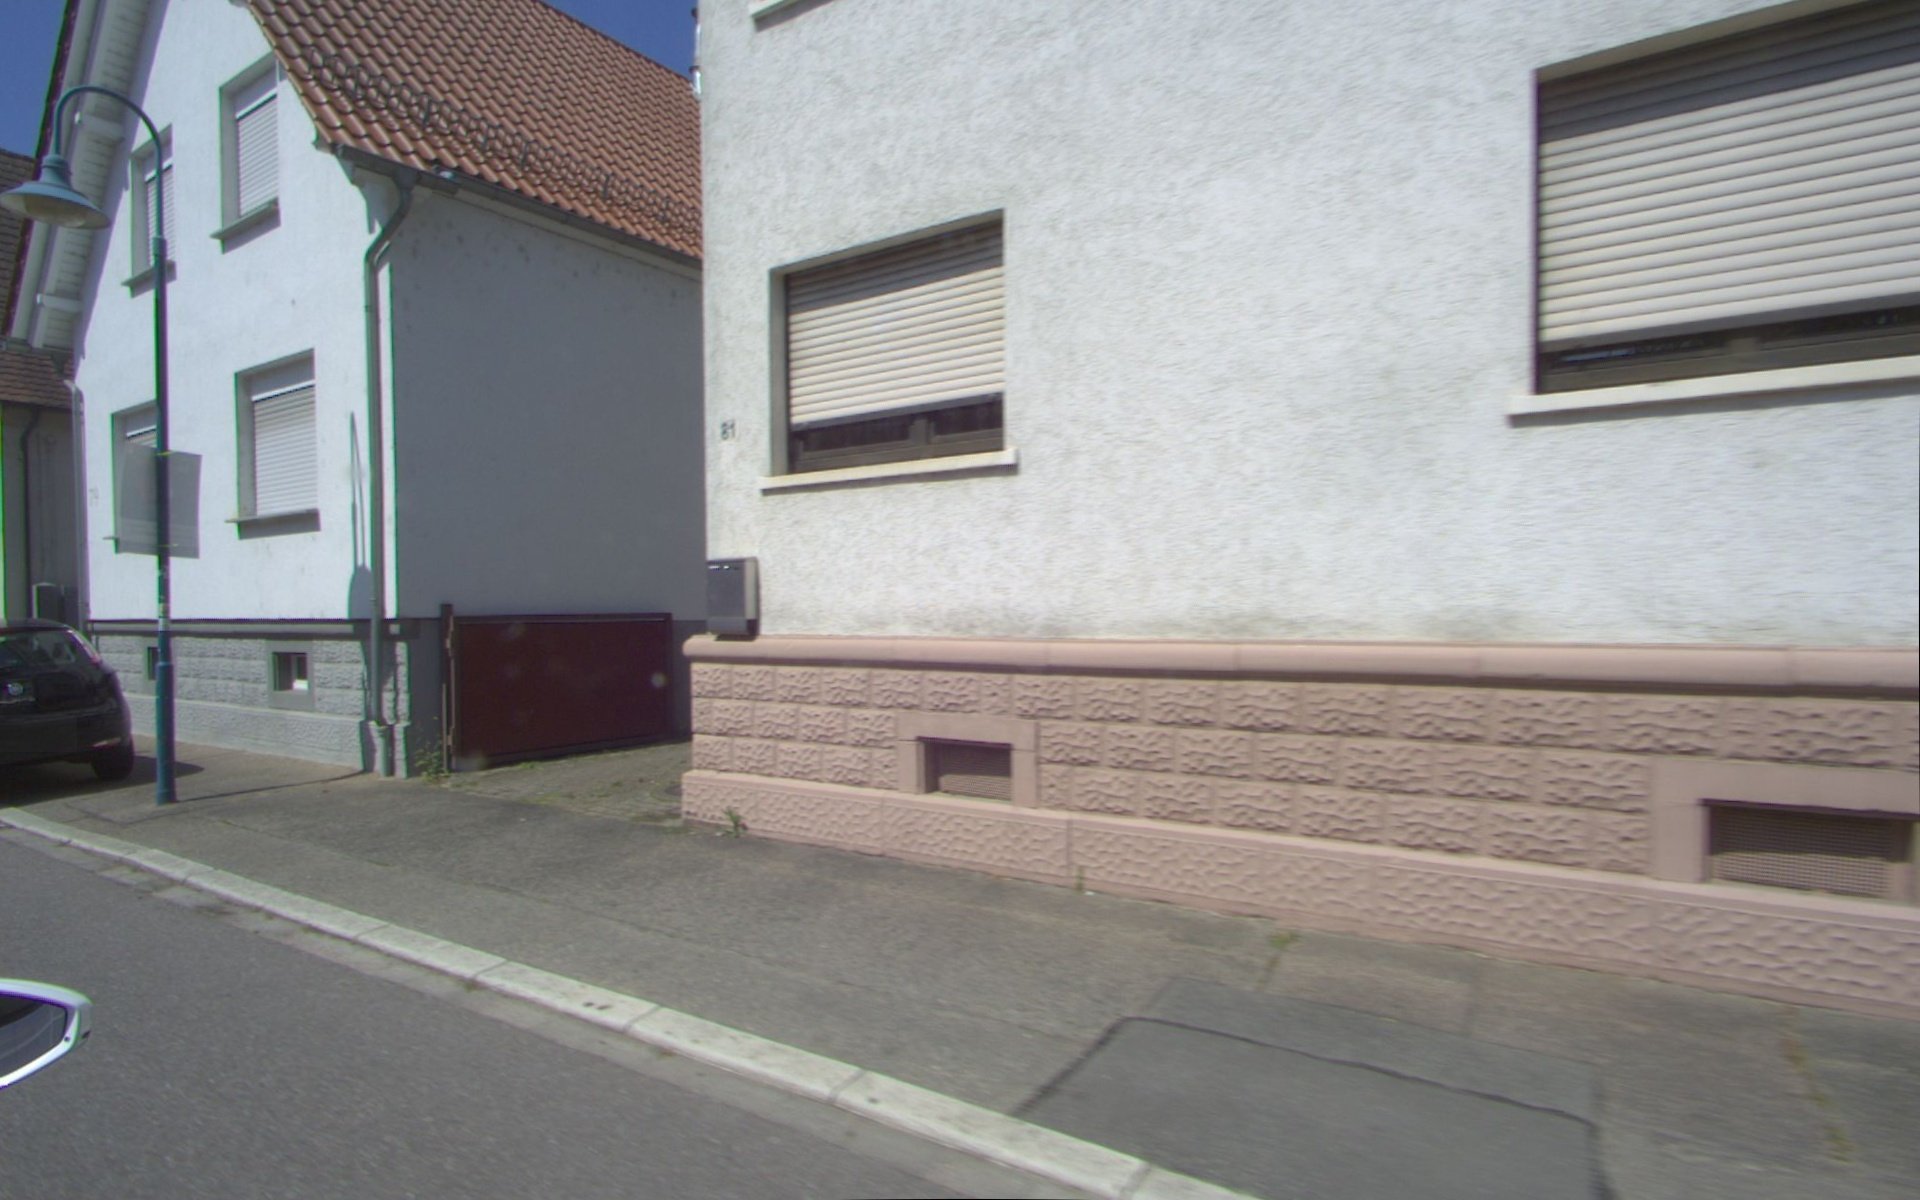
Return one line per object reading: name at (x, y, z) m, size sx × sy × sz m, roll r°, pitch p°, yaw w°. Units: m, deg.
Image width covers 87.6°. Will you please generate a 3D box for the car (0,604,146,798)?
car at (-9.287, 0.843, 9.209) m, size 3.915 × 1.516 × 1.612 m, roll 0°, pitch 3°, yaw 33°
